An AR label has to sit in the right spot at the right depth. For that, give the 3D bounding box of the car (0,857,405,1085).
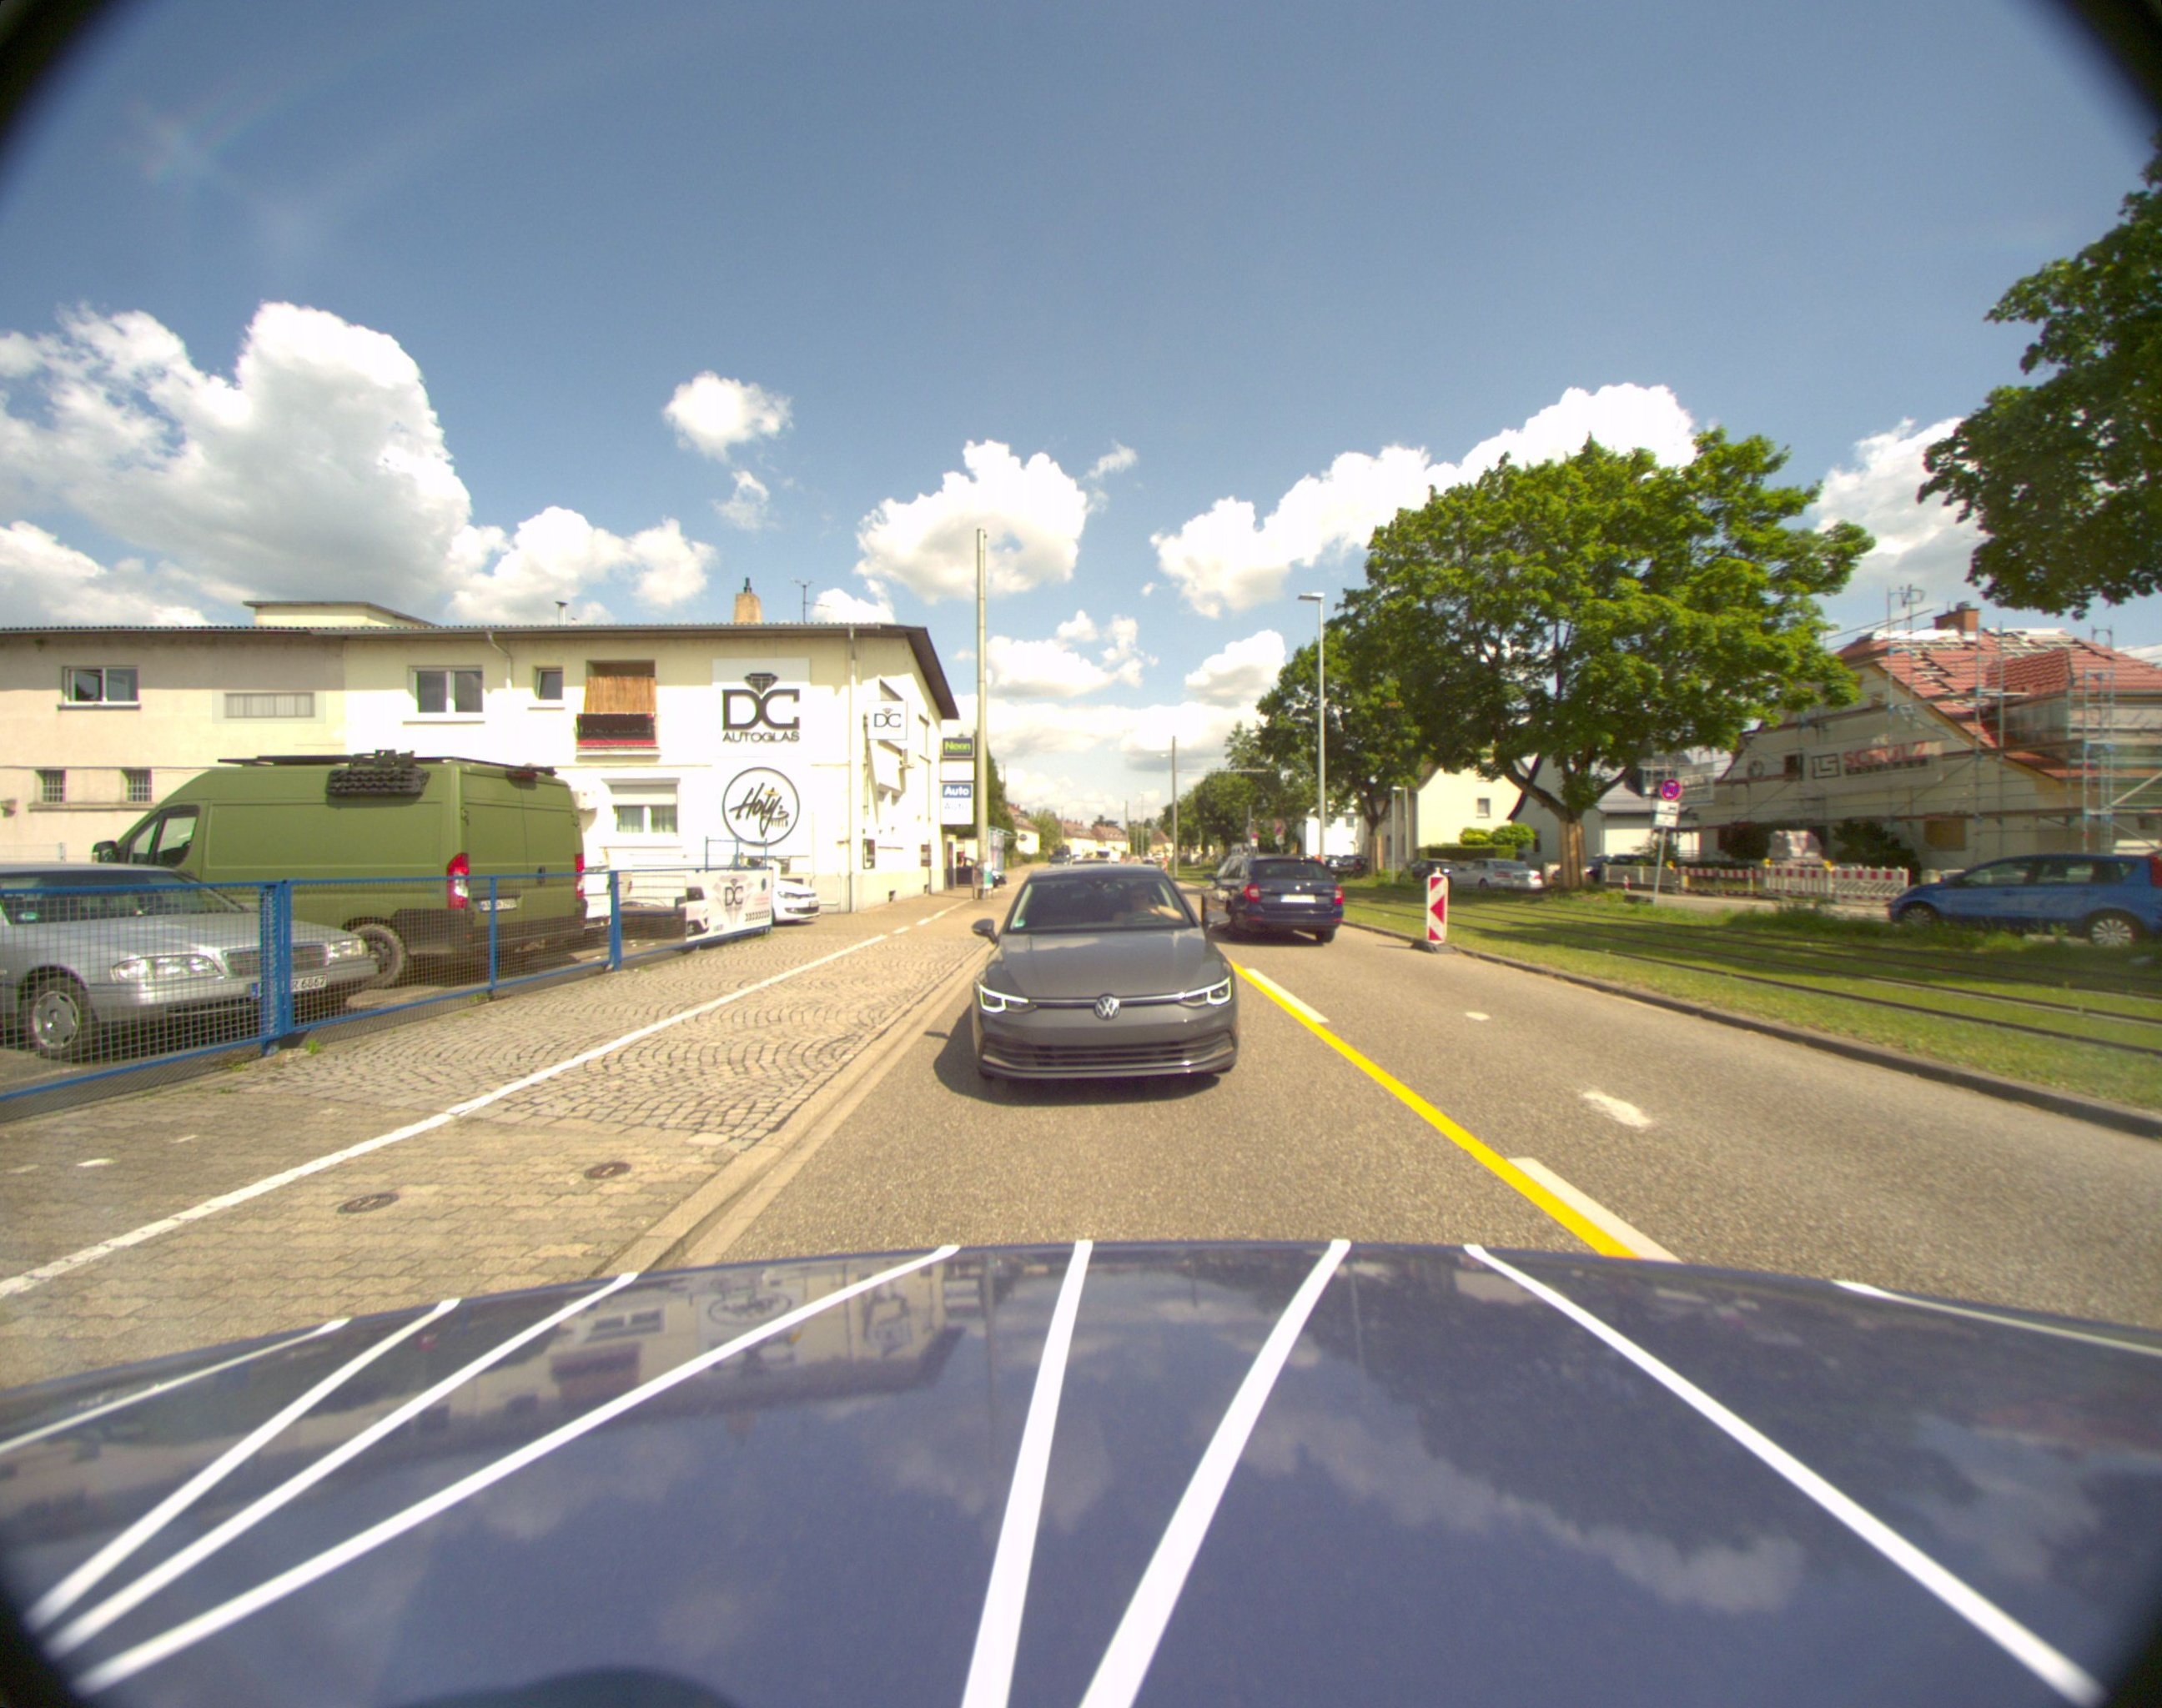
[{"bbox_3d":[-8.454,0.872,6.332,4.257,1.499,1.828,-2,1,8],"label":"car"}]

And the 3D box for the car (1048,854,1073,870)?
[{"bbox_3d":[-1.910,0.758,72.540,1.823,1.412,4.002,0,0,7],"label":"car"}]

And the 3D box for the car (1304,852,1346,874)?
[{"bbox_3d":[16.696,0.586,52.105,1.636,1.294,3.999,-2,1,1],"label":"car"}]

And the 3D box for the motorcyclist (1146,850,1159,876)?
[{"bbox_3d":[4.071,0.511,43.353,0.651,1.434,0.588,0,1,1],"label":"motorcyclist"}]

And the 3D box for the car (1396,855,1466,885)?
[{"bbox_3d":[16.598,0.722,36.211,1.624,1.235,3.786,-2,1,1],"label":"car"}]

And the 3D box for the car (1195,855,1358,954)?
[{"bbox_3d":[3.337,0.775,13.907,1.715,1.478,4.535,1,0,-1],"label":"car"}]

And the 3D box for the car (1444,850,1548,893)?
[{"bbox_3d":[16.459,0.632,30.438,1.707,1.504,4.523,-2,1,1],"label":"car"}]

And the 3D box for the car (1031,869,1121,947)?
[{"bbox_3d":[-0.047,0.997,15.380,1.555,1.217,3.729,-2,1,1],"label":"car"}]

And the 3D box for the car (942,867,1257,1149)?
[{"bbox_3d":[0.159,0.916,6.492,1.743,1.410,4.380,-2,1,1],"label":"car"}]

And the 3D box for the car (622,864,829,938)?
[{"bbox_3d":[-7.576,0.980,16.383,3.725,1.350,1.518,-2,1,4],"label":"car"}]

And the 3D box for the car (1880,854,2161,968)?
[{"bbox_3d":[16.259,0.816,12.703,1.672,1.504,3.930,-2,1,0],"label":"car"}]

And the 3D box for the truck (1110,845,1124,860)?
[{"bbox_3d":[7.407,-0.300,157.009,2.665,2.786,7.539,-2,1,3],"label":"truck"}]

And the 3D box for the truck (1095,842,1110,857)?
[{"bbox_3d":[4.580,-0.994,161.114,2.631,2.872,7.925,-2,1,5],"label":"truck"}]

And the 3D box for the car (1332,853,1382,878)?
[{"bbox_3d":[16.688,0.673,46.107,1.636,1.294,3.999,-2,1,1],"label":"car"}]

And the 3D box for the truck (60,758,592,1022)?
[{"bbox_3d":[-8.703,0.382,9.125,4.181,2.645,2.108,-2,1,2],"label":"truck"}]

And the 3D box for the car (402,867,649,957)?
[{"bbox_3d":[-8.855,0.896,12.257,3.033,1.267,1.332,1,1,2],"label":"car"}]

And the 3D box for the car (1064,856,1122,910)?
[{"bbox_3d":[0.369,0.824,23.335,1.594,1.418,3.707,-2,1,1],"label":"car"}]

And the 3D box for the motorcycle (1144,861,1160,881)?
[{"bbox_3d":[4.031,0.947,43.268,0.707,1.036,2.465,0,1,1],"label":"motorcycle"}]

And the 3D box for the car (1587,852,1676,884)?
[{"bbox_3d":[25.829,0.679,35.779,3.238,1.374,1.490,-2,1,30],"label":"car"}]
